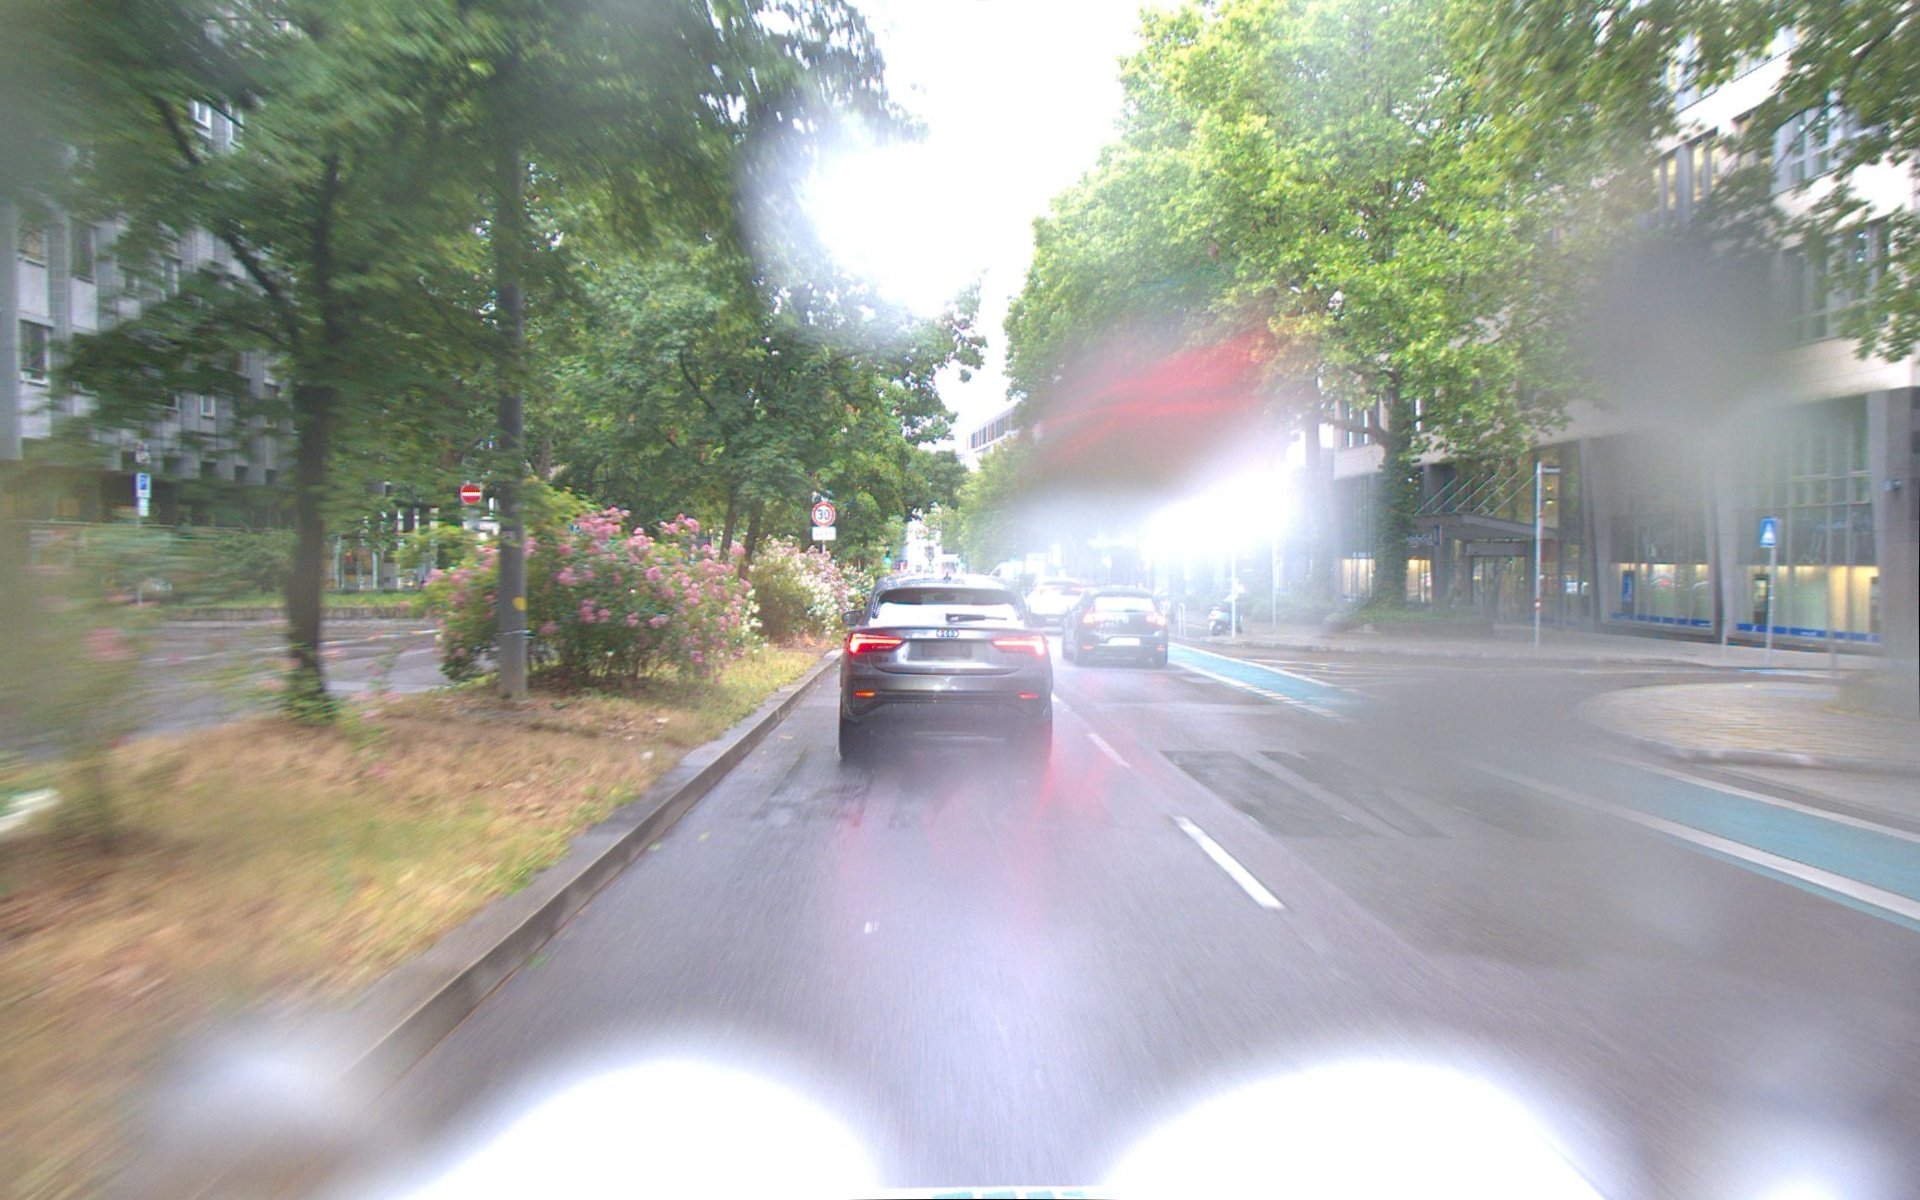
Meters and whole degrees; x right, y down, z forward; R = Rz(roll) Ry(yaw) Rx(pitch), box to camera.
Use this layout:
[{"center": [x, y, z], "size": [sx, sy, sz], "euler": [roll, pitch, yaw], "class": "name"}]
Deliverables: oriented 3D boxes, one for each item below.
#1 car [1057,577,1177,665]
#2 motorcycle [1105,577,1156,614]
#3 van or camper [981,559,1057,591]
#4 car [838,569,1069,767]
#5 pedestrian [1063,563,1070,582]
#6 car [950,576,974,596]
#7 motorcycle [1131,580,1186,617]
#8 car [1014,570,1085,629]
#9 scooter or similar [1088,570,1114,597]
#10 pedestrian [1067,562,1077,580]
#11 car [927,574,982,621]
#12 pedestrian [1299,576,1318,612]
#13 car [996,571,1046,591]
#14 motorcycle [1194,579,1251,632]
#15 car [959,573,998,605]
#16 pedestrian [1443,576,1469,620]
[{"center": [2.955, 0.353, 31.897], "size": [1.812, 1.550, 4.038], "euler": [1, 1, -1], "class": "car"}, {"center": [6.874, -0.177, 66.670], "size": [1.929, 1.397, 0.724], "euler": [-2, 2, -23], "class": "motorcycle"}, {"center": [4.865, -2.087, 136.689], "size": [5.946, 2.603, 2.103], "euler": [1, 1, 26], "class": "van or camper"}, {"center": [-0.119, 0.515, 15.123], "size": [1.812, 1.550, 4.037], "euler": [1, 1, -2], "class": "car"}, {"center": [10.017, -2.586, 155.236], "size": [0.542, 1.836, 0.761], "euler": [1, 0, -5], "class": "pedestrian"}, {"center": [0.148, -1.156, 133.679], "size": [1.812, 1.550, 4.038], "euler": [1, 1, -1], "class": "car"}, {"center": [7.174, -0.050, 59.750], "size": [2.038, 1.234, 0.676], "euler": [-3, 1, -37], "class": "motorcycle"}, {"center": [2.639, -0.043, 49.821], "size": [1.812, 1.698, 4.038], "euler": [1, 1, -1], "class": "car"}, {"center": [7.062, -0.825, 82.792], "size": [1.262, 1.300, 0.537], "euler": [-1, 2, 2], "class": "scooter or similar"}, {"center": [10.662, -2.779, 157.461], "size": [0.789, 1.726, 1.187], "euler": [1, 1, -2], "class": "pedestrian"}, {"center": [-0.219, -0.121, 57.289], "size": [1.812, 1.550, 4.038], "euler": [1, 1, -1], "class": "car"}, {"center": [17.843, -0.294, 84.674], "size": [0.808, 1.835, 0.729], "euler": [1, 0, 1], "class": "pedestrian"}, {"center": [4.843, -1.499, 130.829], "size": [3.572, 1.574, 1.716], "euler": [1, 1, 18], "class": "car"}, {"center": [7.394, 0.155, 46.476], "size": [0.672, 1.391, 1.936], "euler": [-3, 0, 38], "class": "motorcycle"}, {"center": [0.897, -0.557, 82.719], "size": [1.812, 1.550, 4.038], "euler": [1, 1, -1], "class": "car"}, {"center": [19.665, -0.091, 65.549], "size": [0.716, 1.722, 0.824], "euler": [0, 2, 41], "class": "pedestrian"}]
